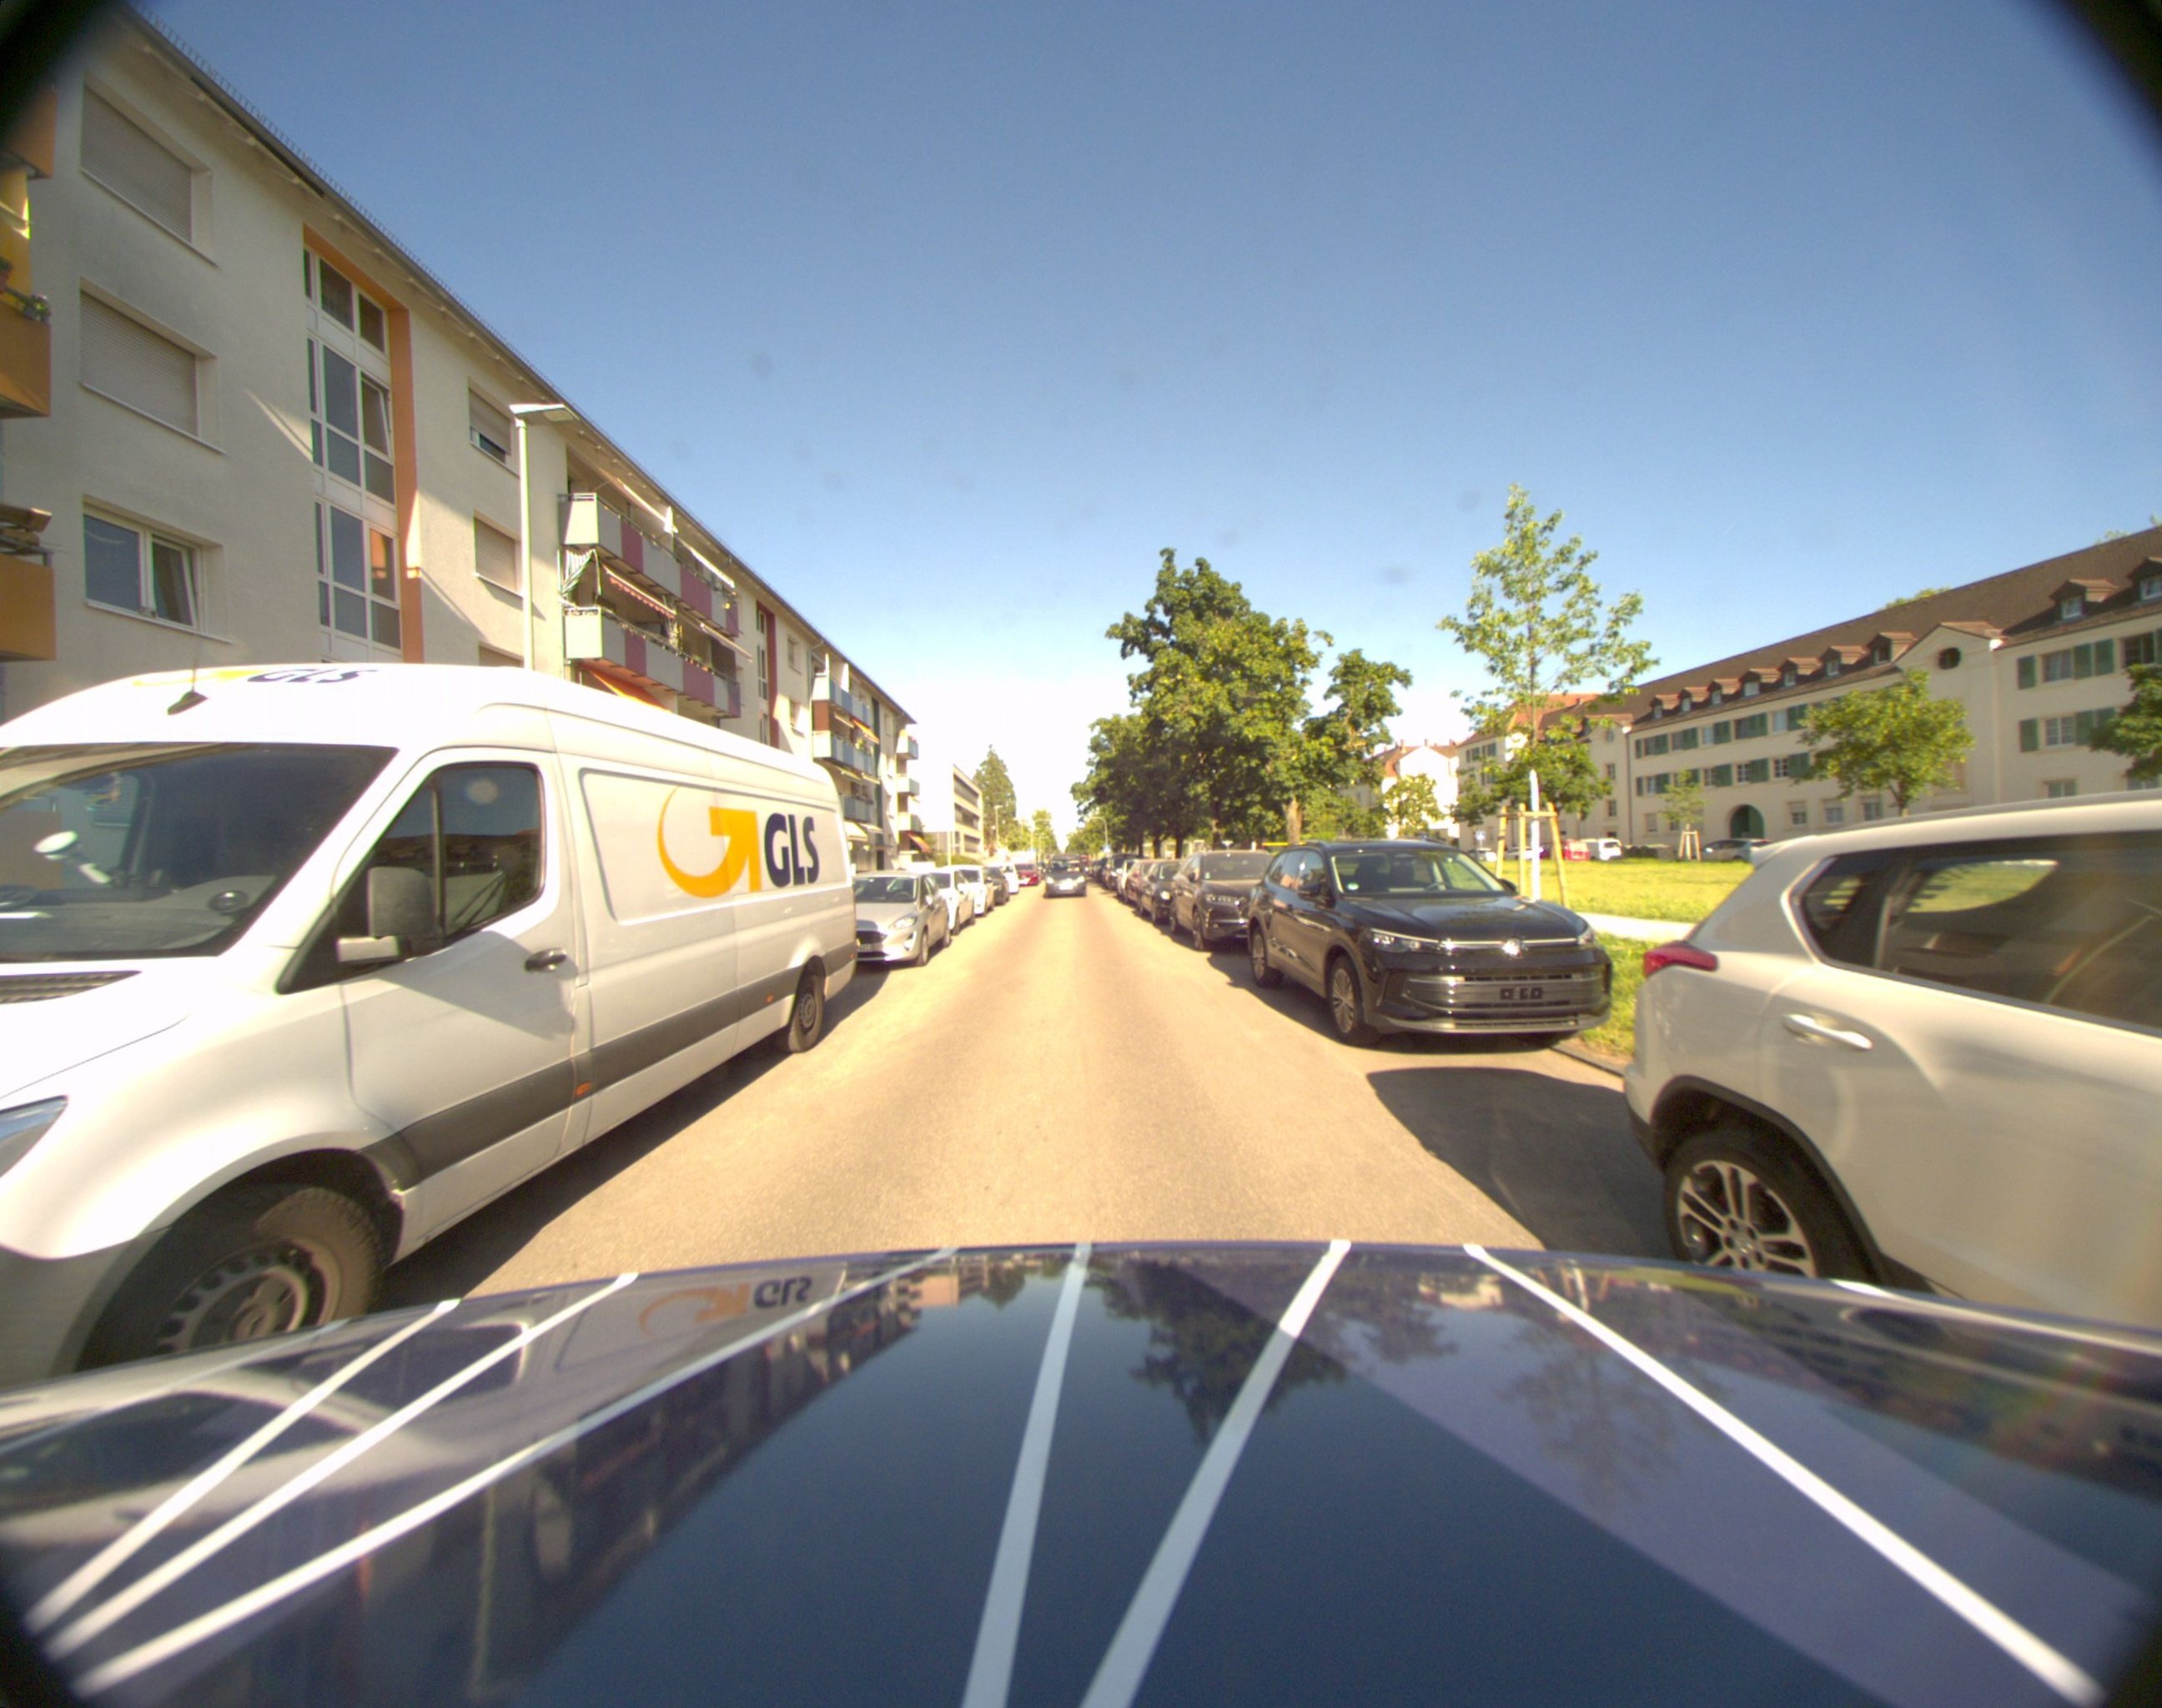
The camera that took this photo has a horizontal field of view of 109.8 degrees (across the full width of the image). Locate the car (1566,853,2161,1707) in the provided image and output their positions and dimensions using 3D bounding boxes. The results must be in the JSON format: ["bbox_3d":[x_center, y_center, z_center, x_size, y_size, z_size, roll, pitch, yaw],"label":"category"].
[{"bbox_3d":[2.760,0.818,0.821,1.760,1.637,4.287,0,0,0],"label":"car"}]

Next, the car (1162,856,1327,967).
[{"bbox_3d":[2.637,0.843,13.427,1.824,1.600,4.738,0,0,-1],"label":"car"}]

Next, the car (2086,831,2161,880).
[{"bbox_3d":[42.898,0.030,29.014,2.159,1.874,5.158,-2,0,-1],"label":"car"}]

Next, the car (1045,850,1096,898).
[{"bbox_3d":[-0.456,0.822,31.505,1.903,1.779,4.157,-2,-1,-1],"label":"car"}]

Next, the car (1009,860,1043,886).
[{"bbox_3d":[-3.380,1.127,47.827,1.848,1.464,5.064,-2,0,-1],"label":"car"}]

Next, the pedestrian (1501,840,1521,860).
[{"bbox_3d":[44.088,-0.429,77.947,1.343,1.952,1.163,-2,0,-6],"label":"pedestrian"}]

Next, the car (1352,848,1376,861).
[{"bbox_3d":[40.922,0.031,110.105,1.955,1.783,4.000,-2,0,0],"label":"car"}]

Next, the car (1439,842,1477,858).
[{"bbox_3d":[48.545,-0.503,97.940,3.813,1.944,2.043,-2,0,1],"label":"car"}]

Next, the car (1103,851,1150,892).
[{"bbox_3d":[2.152,0.779,36.870,1.869,1.774,4.990,-2,1,-1],"label":"car"}]

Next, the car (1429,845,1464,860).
[{"bbox_3d":[36.005,-0.134,74.957,1.654,1.325,3.514,-2,0,-2],"label":"car"}]

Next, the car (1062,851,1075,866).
[{"bbox_3d":[-2.293,0.774,137.399,2.074,2.583,6.202,-2,0,0],"label":"car"}]

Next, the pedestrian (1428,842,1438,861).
[{"bbox_3d":[31.509,-0.206,68.048,0.544,1.675,0.674,-2,0,4],"label":"pedestrian"}]

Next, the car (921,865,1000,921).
[{"bbox_3d":[-3.505,1.099,22.812,1.725,1.427,4.152,-1,0,-1],"label":"car"}]

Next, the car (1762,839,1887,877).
[{"bbox_3d":[37.167,0.210,38.143,2.323,1.740,4.009,-2,0,1],"label":"car"}]

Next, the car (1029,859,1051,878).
[{"bbox_3d":[-3.430,1.194,64.176,1.663,1.465,3.792,-3,0,-1],"label":"car"}]

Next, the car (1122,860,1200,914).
[{"bbox_3d":[2.373,0.954,23.624,1.760,1.483,4.667,0,0,-2],"label":"car"}]

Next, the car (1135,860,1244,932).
[{"bbox_3d":[2.473,0.923,18.455,1.878,1.510,4.469,0,0,-2],"label":"car"}]

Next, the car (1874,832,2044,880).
[{"bbox_3d":[37.278,0.083,32.460,2.242,1.809,4.256,-2,0,-3],"label":"car"}]

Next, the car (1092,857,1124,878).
[{"bbox_3d":[2.087,1.043,60.030,1.999,1.507,5.156,-1,0,-3],"label":"car"}]

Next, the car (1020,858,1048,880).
[{"bbox_3d":[-3.603,1.147,58.700,1.774,1.520,4.557,-2,0,0],"label":"car"}]

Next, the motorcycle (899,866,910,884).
[{"bbox_3d":[-11.832,1.393,51.010,0.584,1.144,2.035,-2,0,-10],"label":"motorcycle"}]

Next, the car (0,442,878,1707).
[{"bbox_3d":[-3.312,0.495,4.778,2.148,2.697,6.841,0,0,1],"label":"car"}]

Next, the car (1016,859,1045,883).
[{"bbox_3d":[-3.569,1.153,53.480,1.879,1.525,4.491,-2,0,-4],"label":"car"}]

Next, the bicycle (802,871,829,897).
[{"bbox_3d":[-11.644,1.294,33.323,0.524,1.064,2.009,0,0,-2],"label":"bicycle"}]

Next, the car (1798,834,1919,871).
[{"bbox_3d":[42.662,-0.068,41.835,2.269,1.894,4.166,-2,0,-2],"label":"car"}]

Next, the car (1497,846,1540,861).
[{"bbox_3d":[41.796,-0.071,72.696,1.773,1.348,3.999,-2,0,-2],"label":"car"}]

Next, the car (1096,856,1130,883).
[{"bbox_3d":[2.006,0.968,49.227,2.031,1.616,4.757,-1,0,0],"label":"car"}]

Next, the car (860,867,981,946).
[{"bbox_3d":[-3.510,1.095,17.435,1.883,1.466,4.140,-2,0,-1],"label":"car"}]

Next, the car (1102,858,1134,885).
[{"bbox_3d":[2.055,0.954,42.959,1.542,1.420,4.087,-2,0,0],"label":"car"}]

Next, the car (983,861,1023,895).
[{"bbox_3d":[-3.726,1.137,36.822,1.753,1.490,3.859,-1,0,-4],"label":"car"}]

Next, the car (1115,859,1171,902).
[{"bbox_3d":[2.227,0.927,28.067,1.591,1.484,3.684,0,0,-2],"label":"car"}]

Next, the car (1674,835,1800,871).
[{"bbox_3d":[37.070,-0.041,43.199,2.456,1.809,5.453,-2,0,1],"label":"car"}]

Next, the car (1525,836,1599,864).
[{"bbox_3d":[36.801,-0.264,58.349,2.226,1.973,5.257,-2,0,-1],"label":"car"}]

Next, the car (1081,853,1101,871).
[{"bbox_3d":[1.194,0.877,85.748,2.021,1.867,4.741,-2,0,3],"label":"car"}]

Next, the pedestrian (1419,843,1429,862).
[{"bbox_3d":[30.757,-0.147,68.153,0.545,1.675,0.750,-2,0,1],"label":"pedestrian"}]

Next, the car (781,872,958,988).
[{"bbox_3d":[-3.302,1.112,12.752,1.854,1.457,4.201,-3,0,-2],"label":"car"}]

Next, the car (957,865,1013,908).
[{"bbox_3d":[-3.484,1.149,28.243,1.704,1.427,4.470,0,0,-2],"label":"car"}]

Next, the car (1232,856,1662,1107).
[{"bbox_3d":[2.877,0.843,7.342,1.847,1.629,4.714,0,0,-1],"label":"car"}]

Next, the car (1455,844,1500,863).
[{"bbox_3d":[36.290,-0.043,69.615,1.794,1.574,4.235,-2,0,-2],"label":"car"}]

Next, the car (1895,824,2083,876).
[{"bbox_3d":[42.925,-0.176,36.189,2.537,2.203,5.256,-2,0,-3],"label":"car"}]

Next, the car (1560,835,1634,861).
[{"bbox_3d":[42.079,-0.475,62.161,2.227,1.973,5.256,-2,0,-3],"label":"car"}]
